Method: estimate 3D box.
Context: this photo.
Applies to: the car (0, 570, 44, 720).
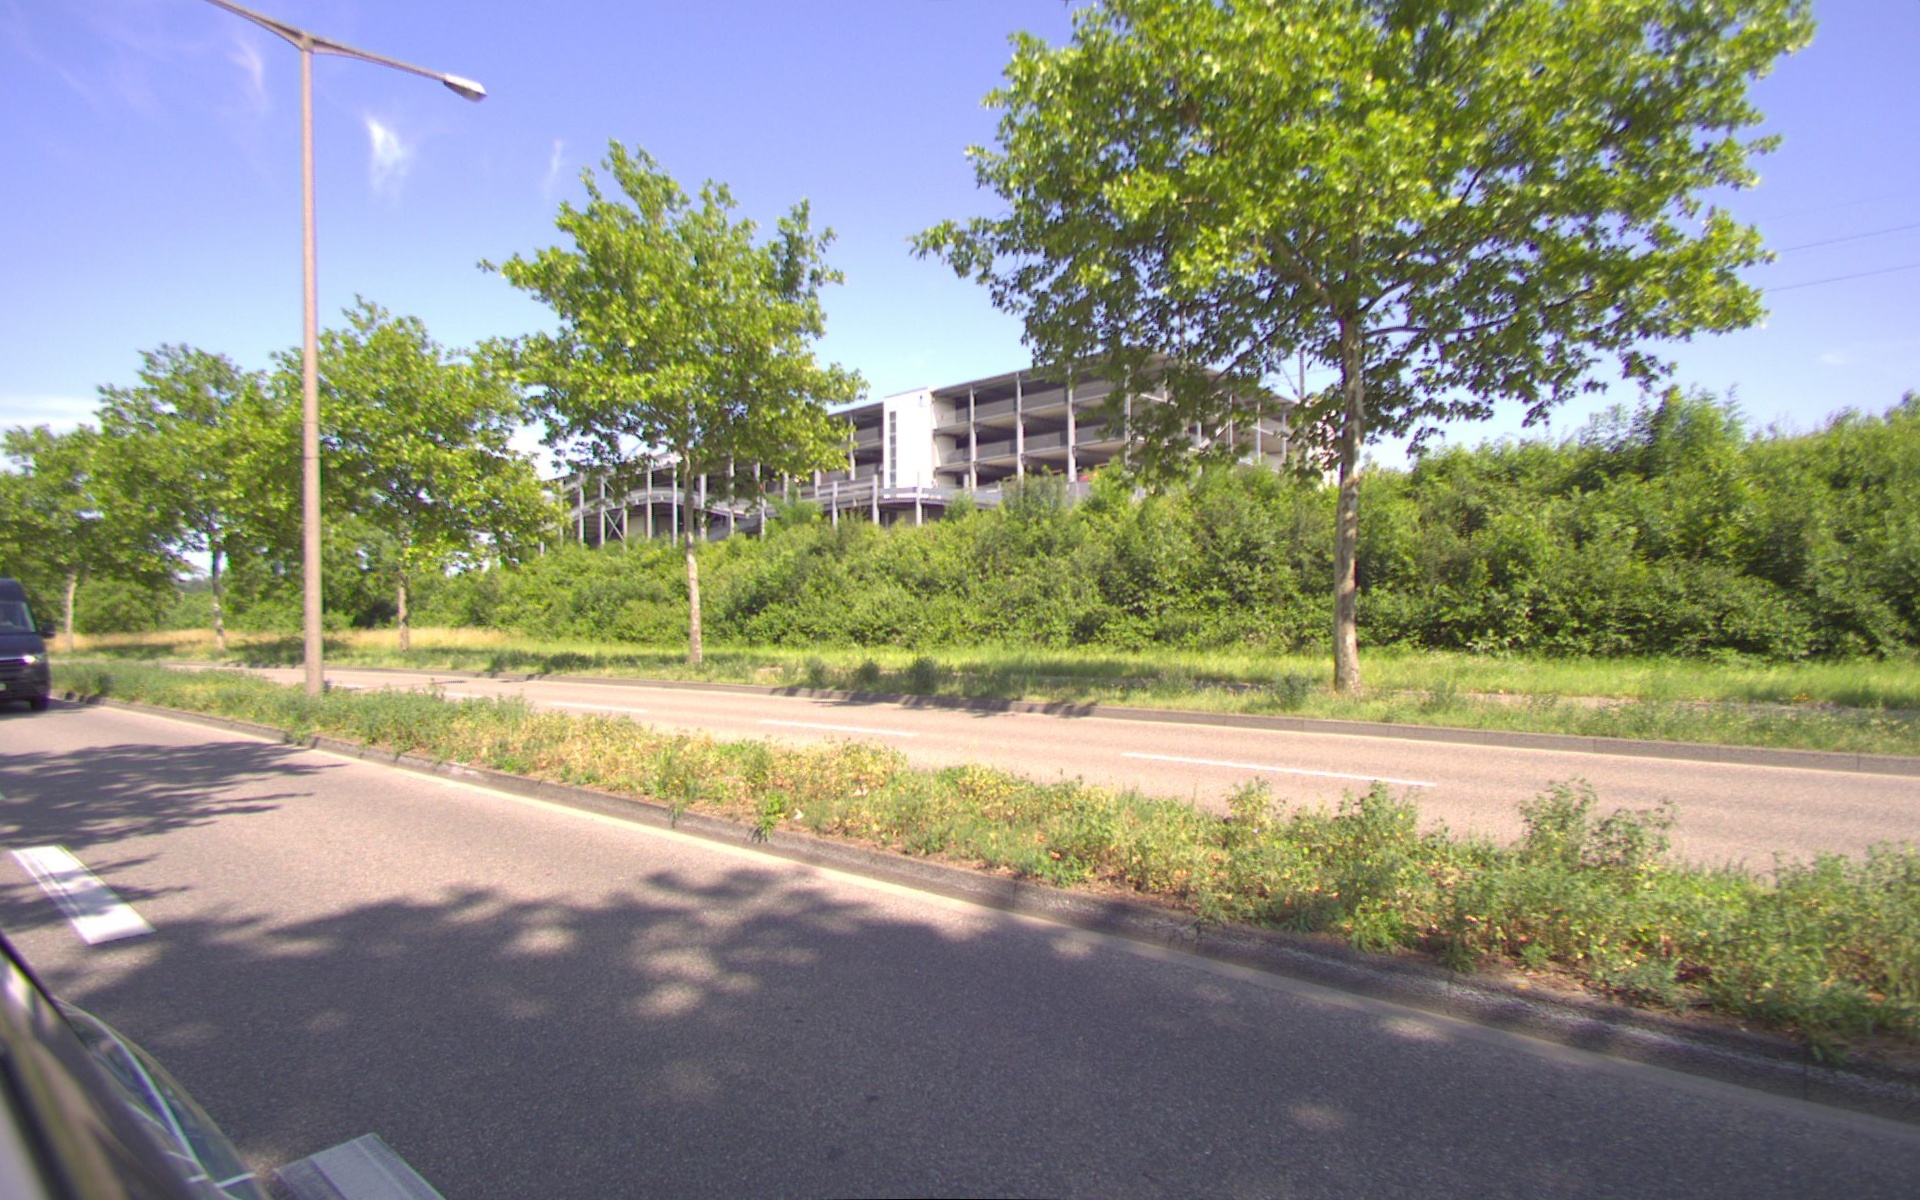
[{"bbox_3d":[-19.486,0.856,19.495,6.164,2.627,1.995,-2,-1,41],"label":"car"}]
